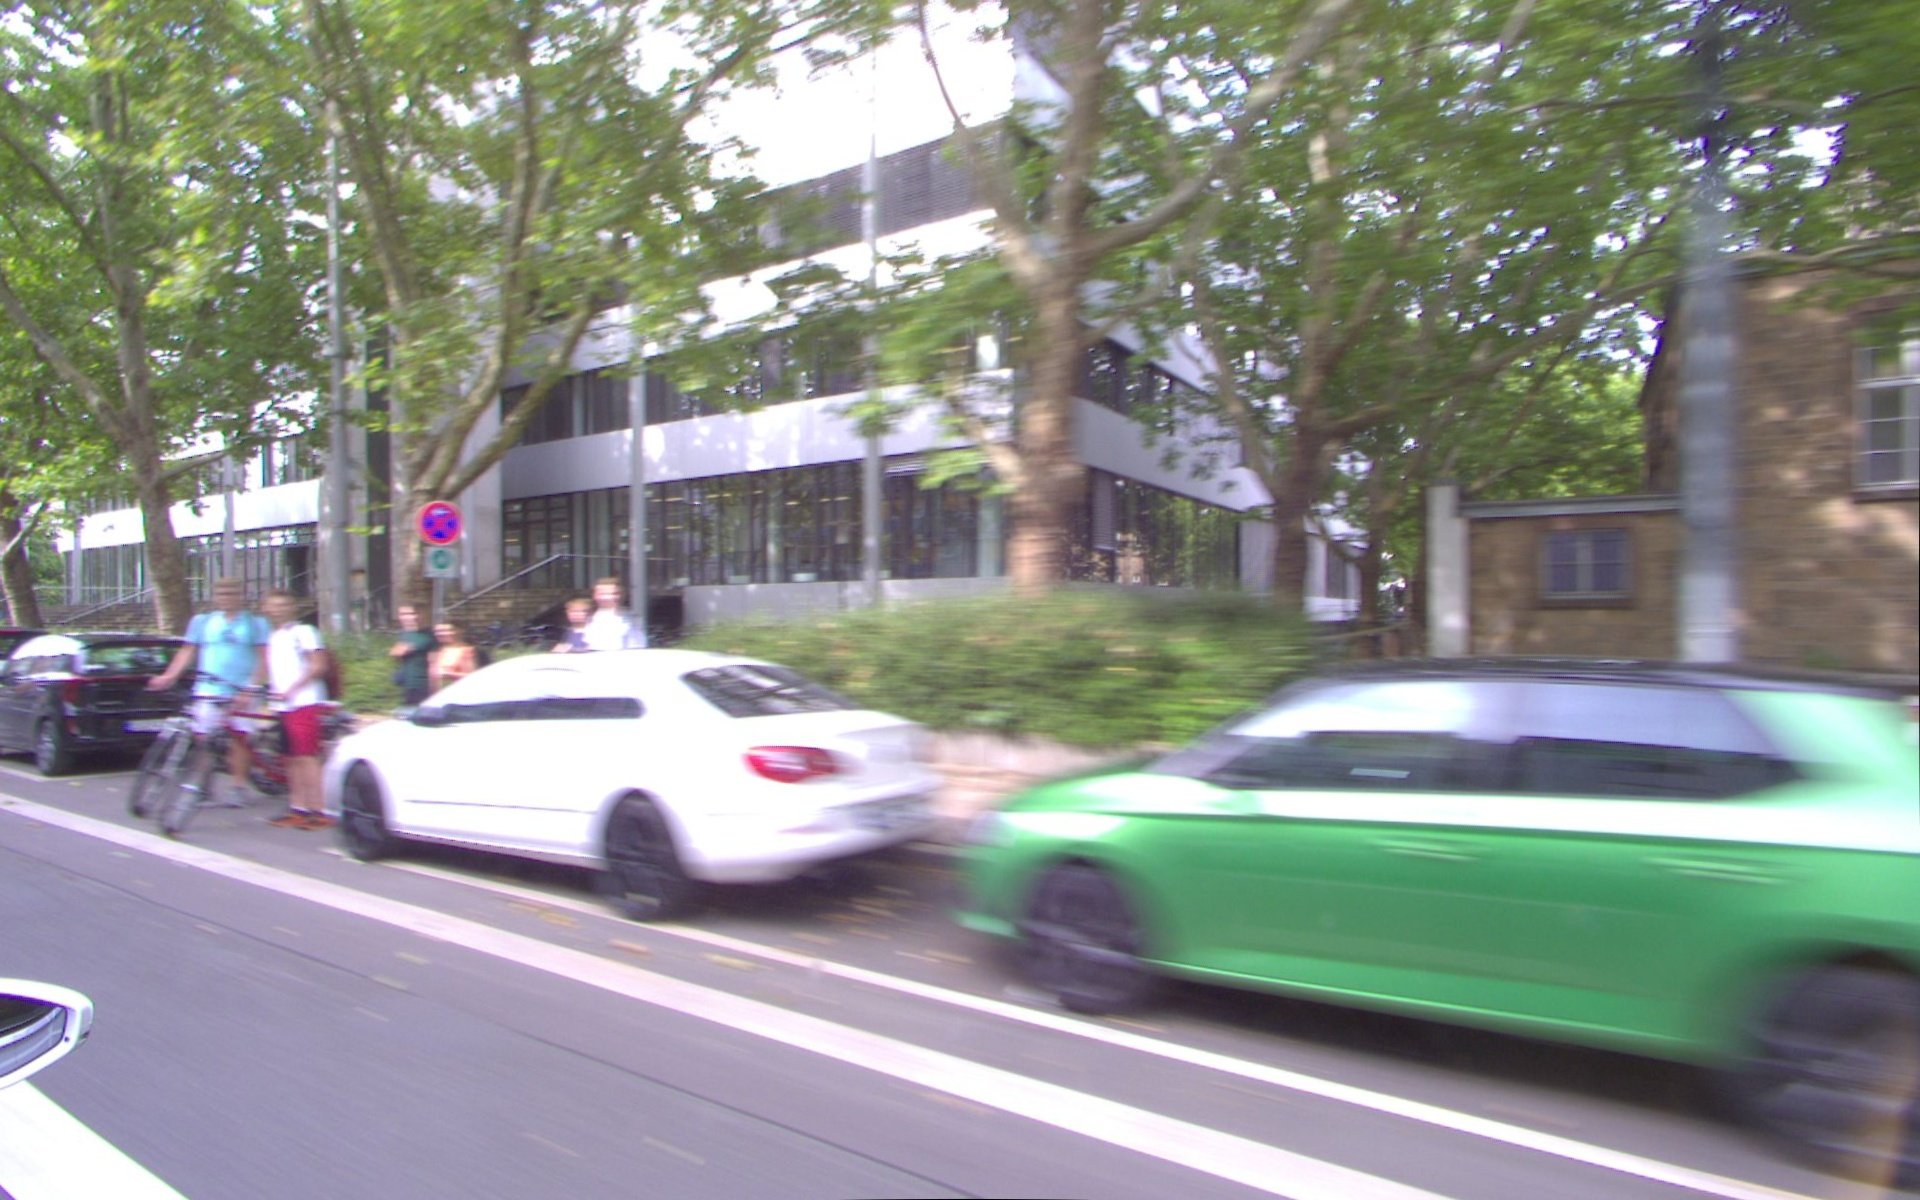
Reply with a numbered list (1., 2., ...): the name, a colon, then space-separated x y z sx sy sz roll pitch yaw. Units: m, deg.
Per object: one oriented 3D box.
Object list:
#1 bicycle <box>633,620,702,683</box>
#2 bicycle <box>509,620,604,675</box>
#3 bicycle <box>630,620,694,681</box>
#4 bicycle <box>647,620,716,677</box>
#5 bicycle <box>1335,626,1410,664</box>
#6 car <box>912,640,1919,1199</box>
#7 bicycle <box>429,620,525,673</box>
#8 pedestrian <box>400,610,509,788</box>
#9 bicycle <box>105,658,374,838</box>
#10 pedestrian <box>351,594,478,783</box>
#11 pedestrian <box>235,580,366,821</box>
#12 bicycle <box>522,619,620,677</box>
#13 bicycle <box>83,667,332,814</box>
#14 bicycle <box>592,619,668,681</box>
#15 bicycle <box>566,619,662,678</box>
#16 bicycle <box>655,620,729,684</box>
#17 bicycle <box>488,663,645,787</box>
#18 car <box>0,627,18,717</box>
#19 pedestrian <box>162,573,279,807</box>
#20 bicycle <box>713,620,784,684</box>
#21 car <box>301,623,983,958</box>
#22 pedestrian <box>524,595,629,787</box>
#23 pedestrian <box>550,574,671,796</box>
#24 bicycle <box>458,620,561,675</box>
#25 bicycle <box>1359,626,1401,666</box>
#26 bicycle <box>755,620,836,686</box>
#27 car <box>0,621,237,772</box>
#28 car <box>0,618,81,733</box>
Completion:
1. bicycle: -5.553 0.961 19.058 0.461 1.132 1.378 0 0 25
2. bicycle: -8.898 1.023 22.137 0.664 1.132 1.911 0 0 32
3. bicycle: -5.851 0.969 19.711 0.502 1.132 1.380 0 0 18
4. bicycle: -5.762 0.990 20.697 1.415 1.132 0.490 0 1 28
5. bicycle: 10.088 1.118 24.514 1.606 0.889 0.475 -3 -2 39
6. car: 1.810 0.941 4.101 3.749 1.467 1.586 0 -3 31
7. bicycle: -11.092 1.048 23.056 0.664 1.132 1.911 0 0 32
8. pedestrian: -4.998 0.946 9.918 0.645 1.679 0.720 0 -1 33
9. bicycle: -5.680 1.105 8.043 0.543 1.233 1.794 0 -2 15
10. pedestrian: -5.628 0.881 10.357 0.769 1.840 0.869 0 -1 33
11. pedestrian: -5.346 0.790 8.130 0.731 1.869 0.521 0 -1 18
12. bicycle: -8.239 0.995 21.292 0.664 1.132 1.911 0 0 32
13. bicycle: -6.634 1.190 8.944 0.543 1.119 1.737 0 -2 22
14. bicycle: -6.484 0.965 19.777 0.611 1.132 1.698 0 0 14
15. bicycle: -7.201 0.986 20.928 0.664 1.132 1.911 0 0 32
16. bicycle: -5.064 0.960 19.013 0.461 1.132 1.538 0 0 25
17. bicycle: -4.089 1.261 10.563 0.454 1.146 1.770 0 -2 21
18. car: -17.662 1.152 16.683 4.356 1.443 1.696 0 -2 31
19. pedestrian: -6.447 0.762 8.740 0.732 1.959 0.475 0 -1 22
20. bicycle: -3.954 0.956 18.840 0.461 1.132 1.443 0 0 29
21. car: -2.212 0.961 6.545 4.477 1.535 1.679 0 -3 31
22. pedestrian: -3.936 0.908 10.305 0.693 1.878 0.720 0 -1 33
23. pedestrian: -3.363 0.788 9.665 0.739 2.023 0.792 0 -1 33
24. bicycle: -10.003 1.025 22.313 0.664 1.132 2.074 0 0 32
25. bicycle: 9.801 1.067 23.355 0.502 0.889 1.614 -3 -2 37
26. bicycle: -2.995 0.946 18.401 0.595 1.132 1.673 0 0 26
27. car: -10.201 1.031 11.791 3.608 1.521 1.525 -1 -2 33
28. car: -14.101 1.052 14.472 2.565 1.563 1.532 -1 -2 36
